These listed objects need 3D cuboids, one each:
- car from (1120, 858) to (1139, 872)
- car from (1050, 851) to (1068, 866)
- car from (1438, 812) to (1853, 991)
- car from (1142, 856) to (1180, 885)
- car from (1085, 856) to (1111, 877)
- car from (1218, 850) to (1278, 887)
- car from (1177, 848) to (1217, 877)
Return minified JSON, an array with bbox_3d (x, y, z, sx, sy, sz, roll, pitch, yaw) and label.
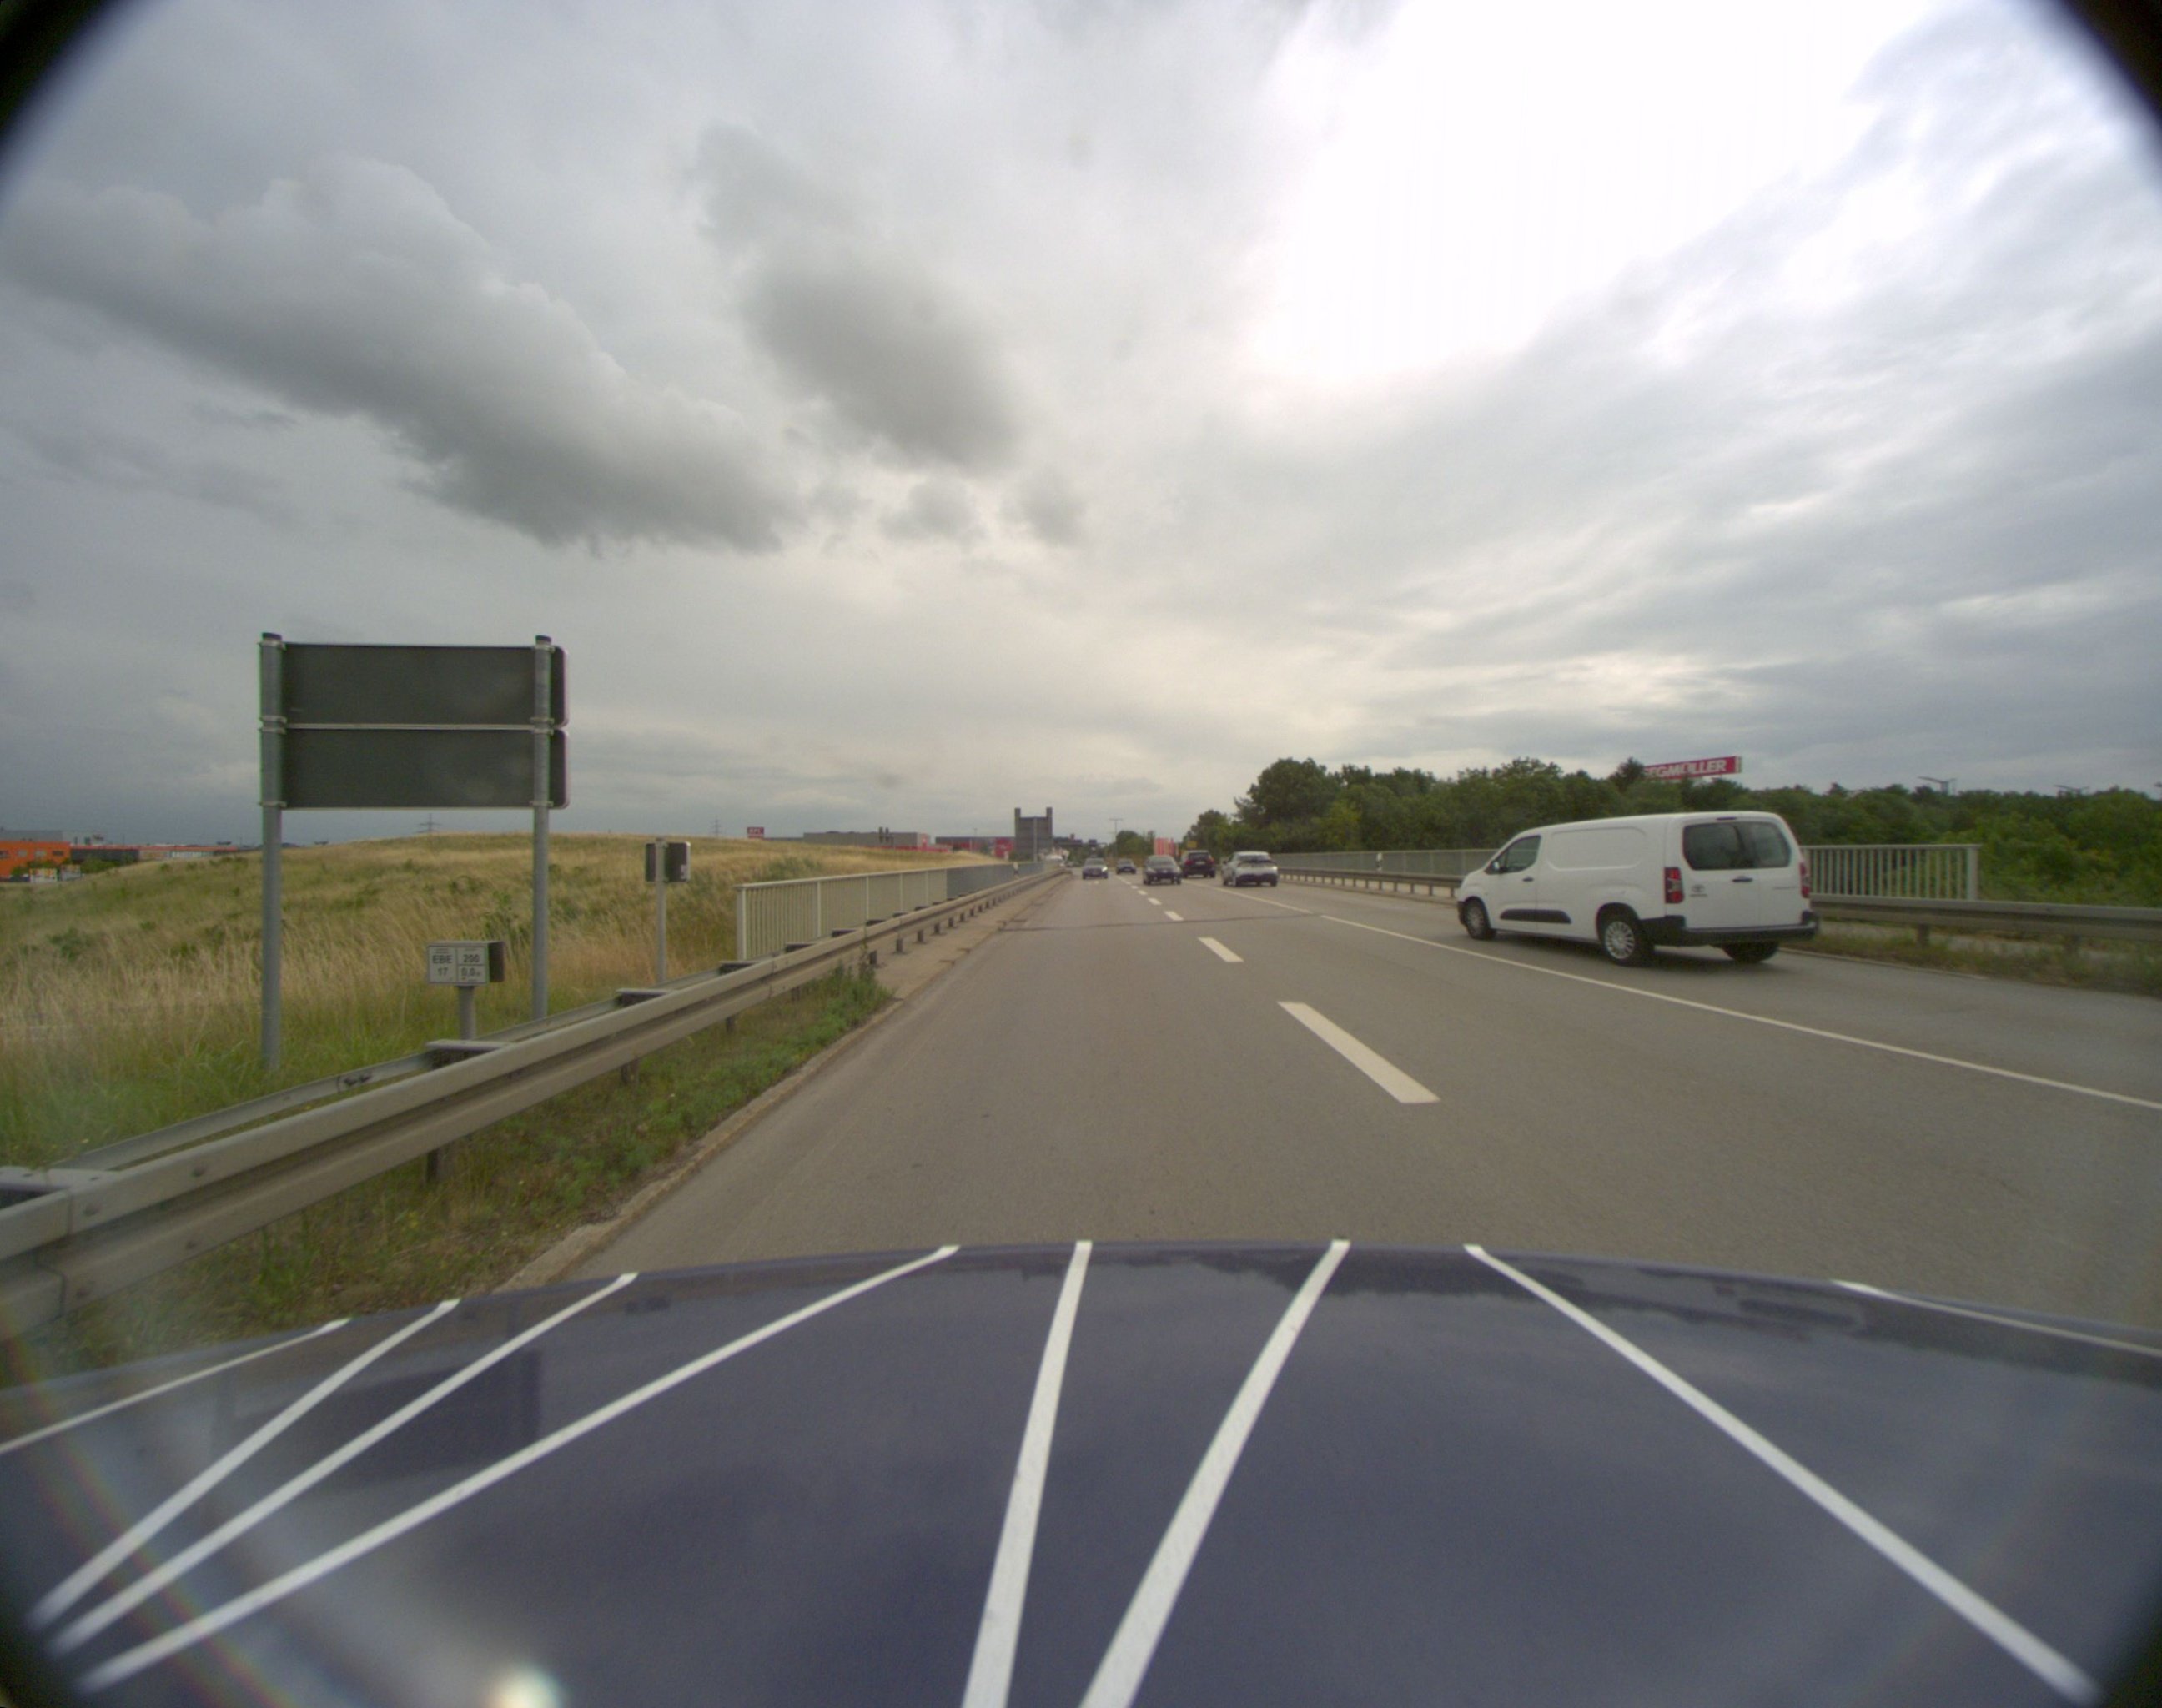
[{"bbox_3d":[4.580,0.992,71.921,1.579,1.261,3.314,-1,0,1],"label":"car"},{"bbox_3d":[-3.189,0.698,110.025,2.000,2.001,4.841,-1,-2,-9],"label":"car"},{"bbox_3d":[7.260,0.499,10.621,1.959,1.864,4.818,-2,0,-4],"label":"car"},{"bbox_3d":[4.044,0.822,38.791,1.580,1.346,3.823,-1,0,1],"label":"car"},{"bbox_3d":[1.204,0.911,53.827,1.764,1.411,4.093,0,-2,2],"label":"car"},{"bbox_3d":[7.291,0.603,33.582,1.716,1.478,4.279,-2,0,0],"label":"car"},{"bbox_3d":[7.327,0.497,48.399,1.998,1.722,4.762,-2,1,3],"label":"car"}]
